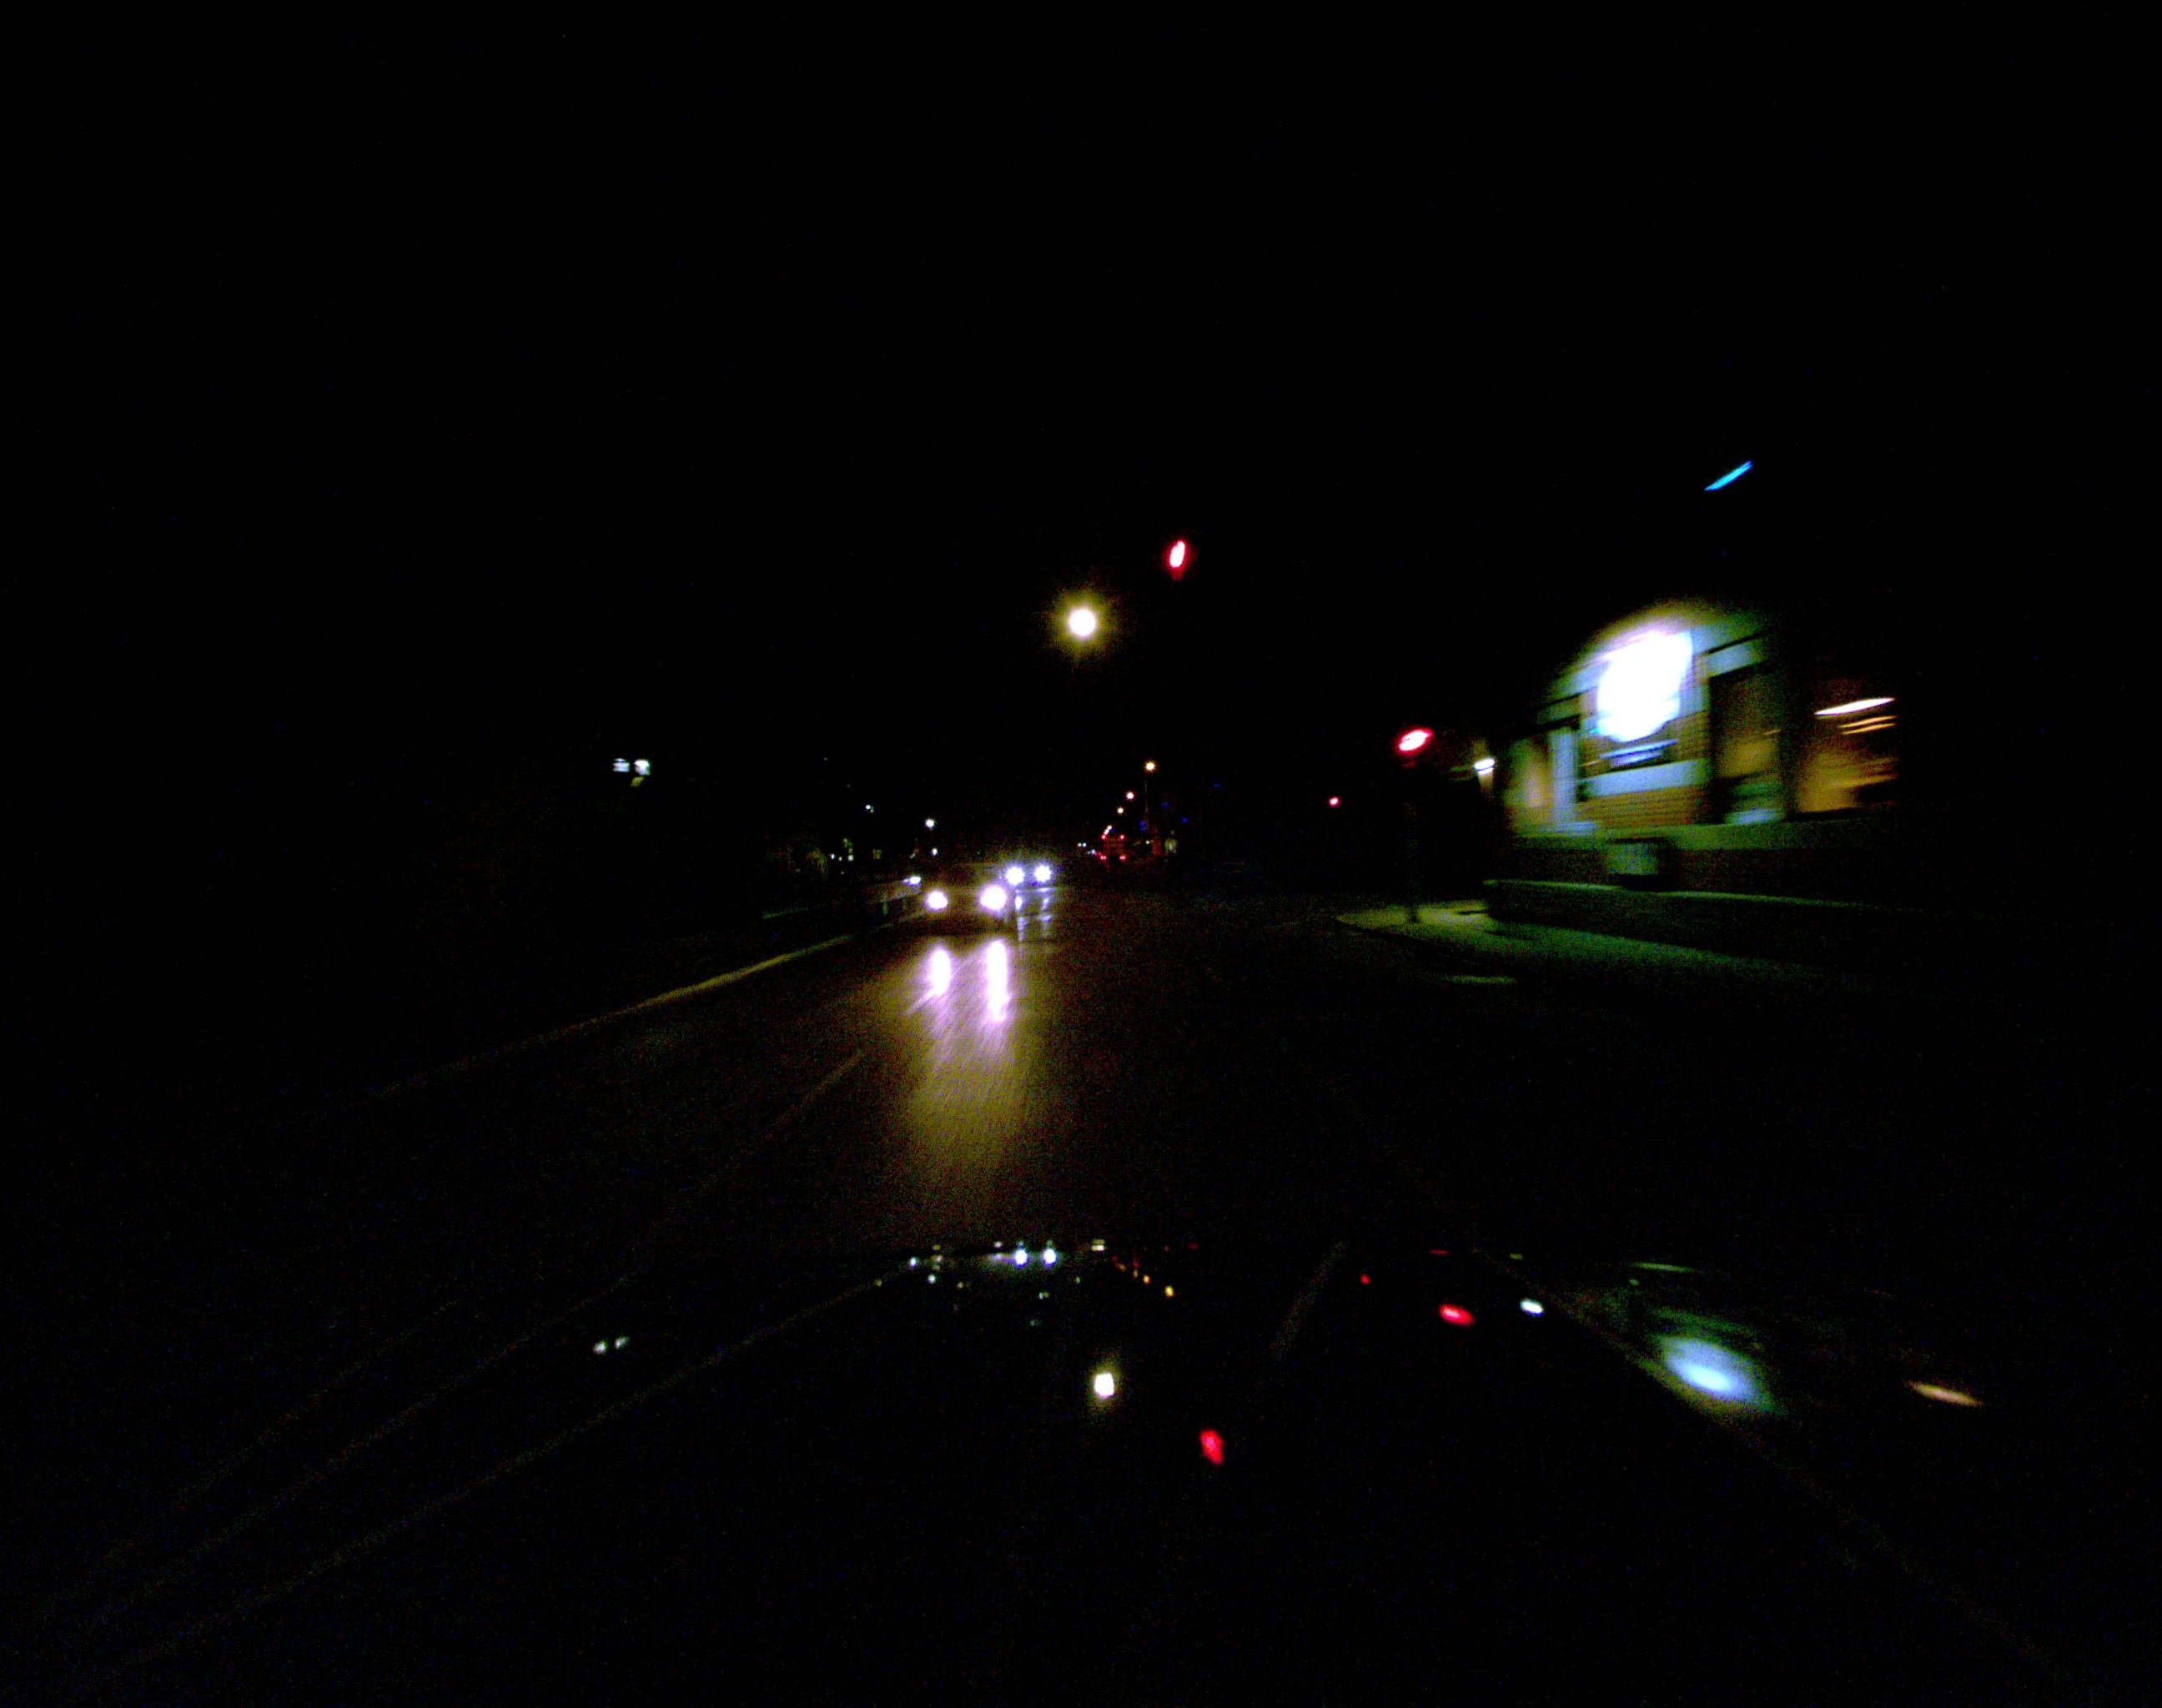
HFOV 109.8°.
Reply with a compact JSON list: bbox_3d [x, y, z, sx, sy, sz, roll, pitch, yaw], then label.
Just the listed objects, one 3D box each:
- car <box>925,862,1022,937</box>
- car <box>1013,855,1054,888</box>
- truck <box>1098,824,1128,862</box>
[{"bbox_3d":[-2.425,0.980,17.972,1.634,1.430,3.840,-3,0,0],"label":"car"},{"bbox_3d":[-2.359,0.871,39.002,1.729,1.454,4.000,-4,0,0],"label":"car"},{"bbox_3d":[4.210,-1.420,101.797,3.516,4.557,9.040,-4,0,0],"label":"truck"}]
